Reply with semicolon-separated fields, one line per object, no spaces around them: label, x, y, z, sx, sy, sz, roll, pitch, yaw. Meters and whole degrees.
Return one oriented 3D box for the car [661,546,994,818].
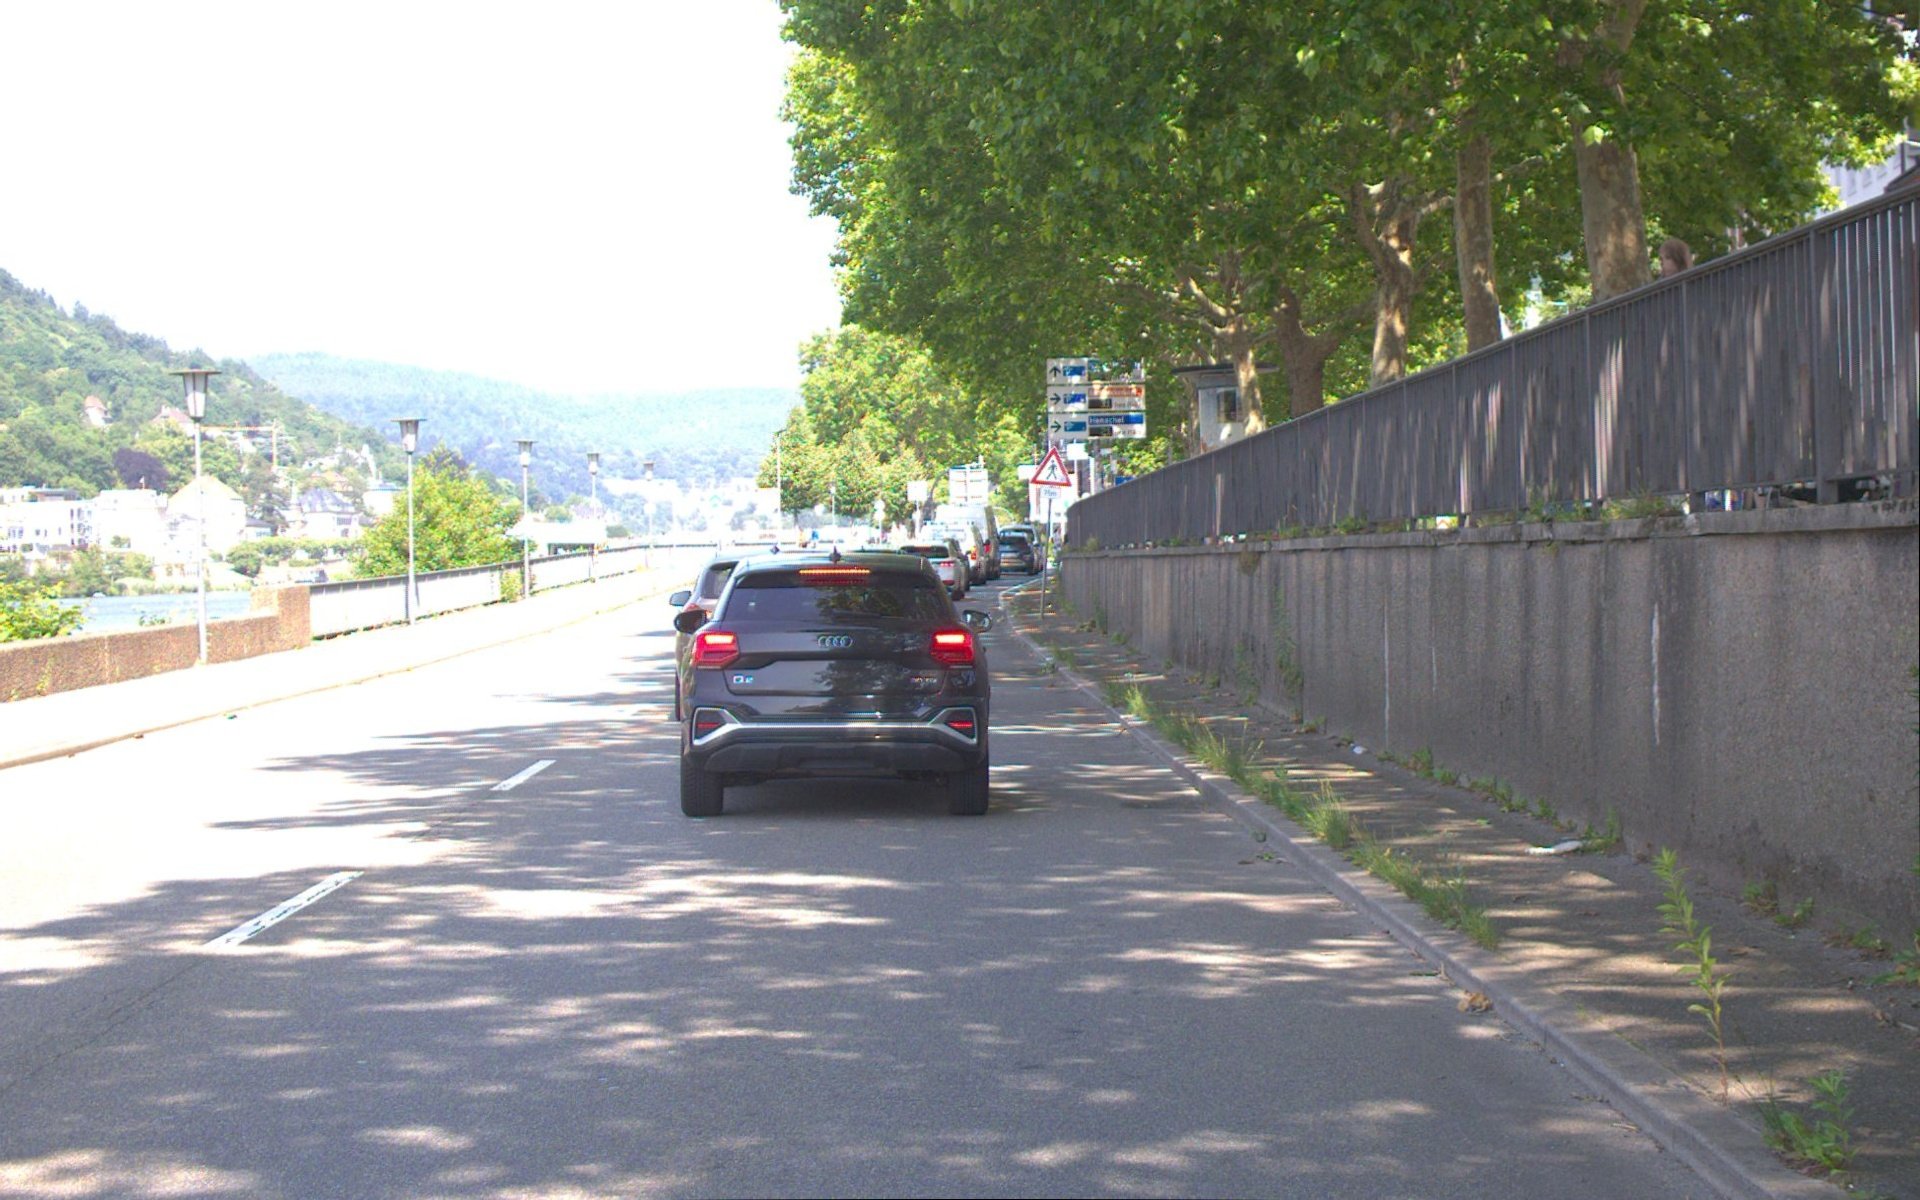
car;-0.785;0.418;20.932;1.828;1.481;4.000;0;1;-2

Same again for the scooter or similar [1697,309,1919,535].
scooter or similar;4.234;-0.862;16.982;0.855;1.023;1.107;-4;1;-2

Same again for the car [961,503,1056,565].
car;1.721;-2.384;124.998;3.098;2.006;5.825;-4;1;-2

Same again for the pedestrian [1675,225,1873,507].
pedestrian;4.189;-1.189;17.756;0.680;1.361;0.989;-4;1;-2

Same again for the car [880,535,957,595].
car;-1.038;-0.891;84.866;1.828;1.439;4.000;0;1;-2

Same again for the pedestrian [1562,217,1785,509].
pedestrian;4.114;-1.349;19.891;0.936;1.574;1.028;-4;1;-3

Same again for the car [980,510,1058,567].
car;2.270;-2.398;133.869;2.661;2.006;5.825;-4;1;-2

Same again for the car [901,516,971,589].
car;-0.759;-1.456;105.703;1.993;2.162;4.000;-1;1;-2

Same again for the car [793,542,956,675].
car;-1.019;0.065;40.698;1.828;1.481;4.000;0;1;-2

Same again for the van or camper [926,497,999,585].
van or camper;0.095;-1.957;114.765;2.310;2.837;4.246;-1;1;0

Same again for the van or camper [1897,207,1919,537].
van or camper;9.040;-1.448;25.540;2.341;2.176;7.345;2;0;28

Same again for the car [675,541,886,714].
car;-1.621;0.204;31.979;1.828;1.506;4.000;0;1;-2
